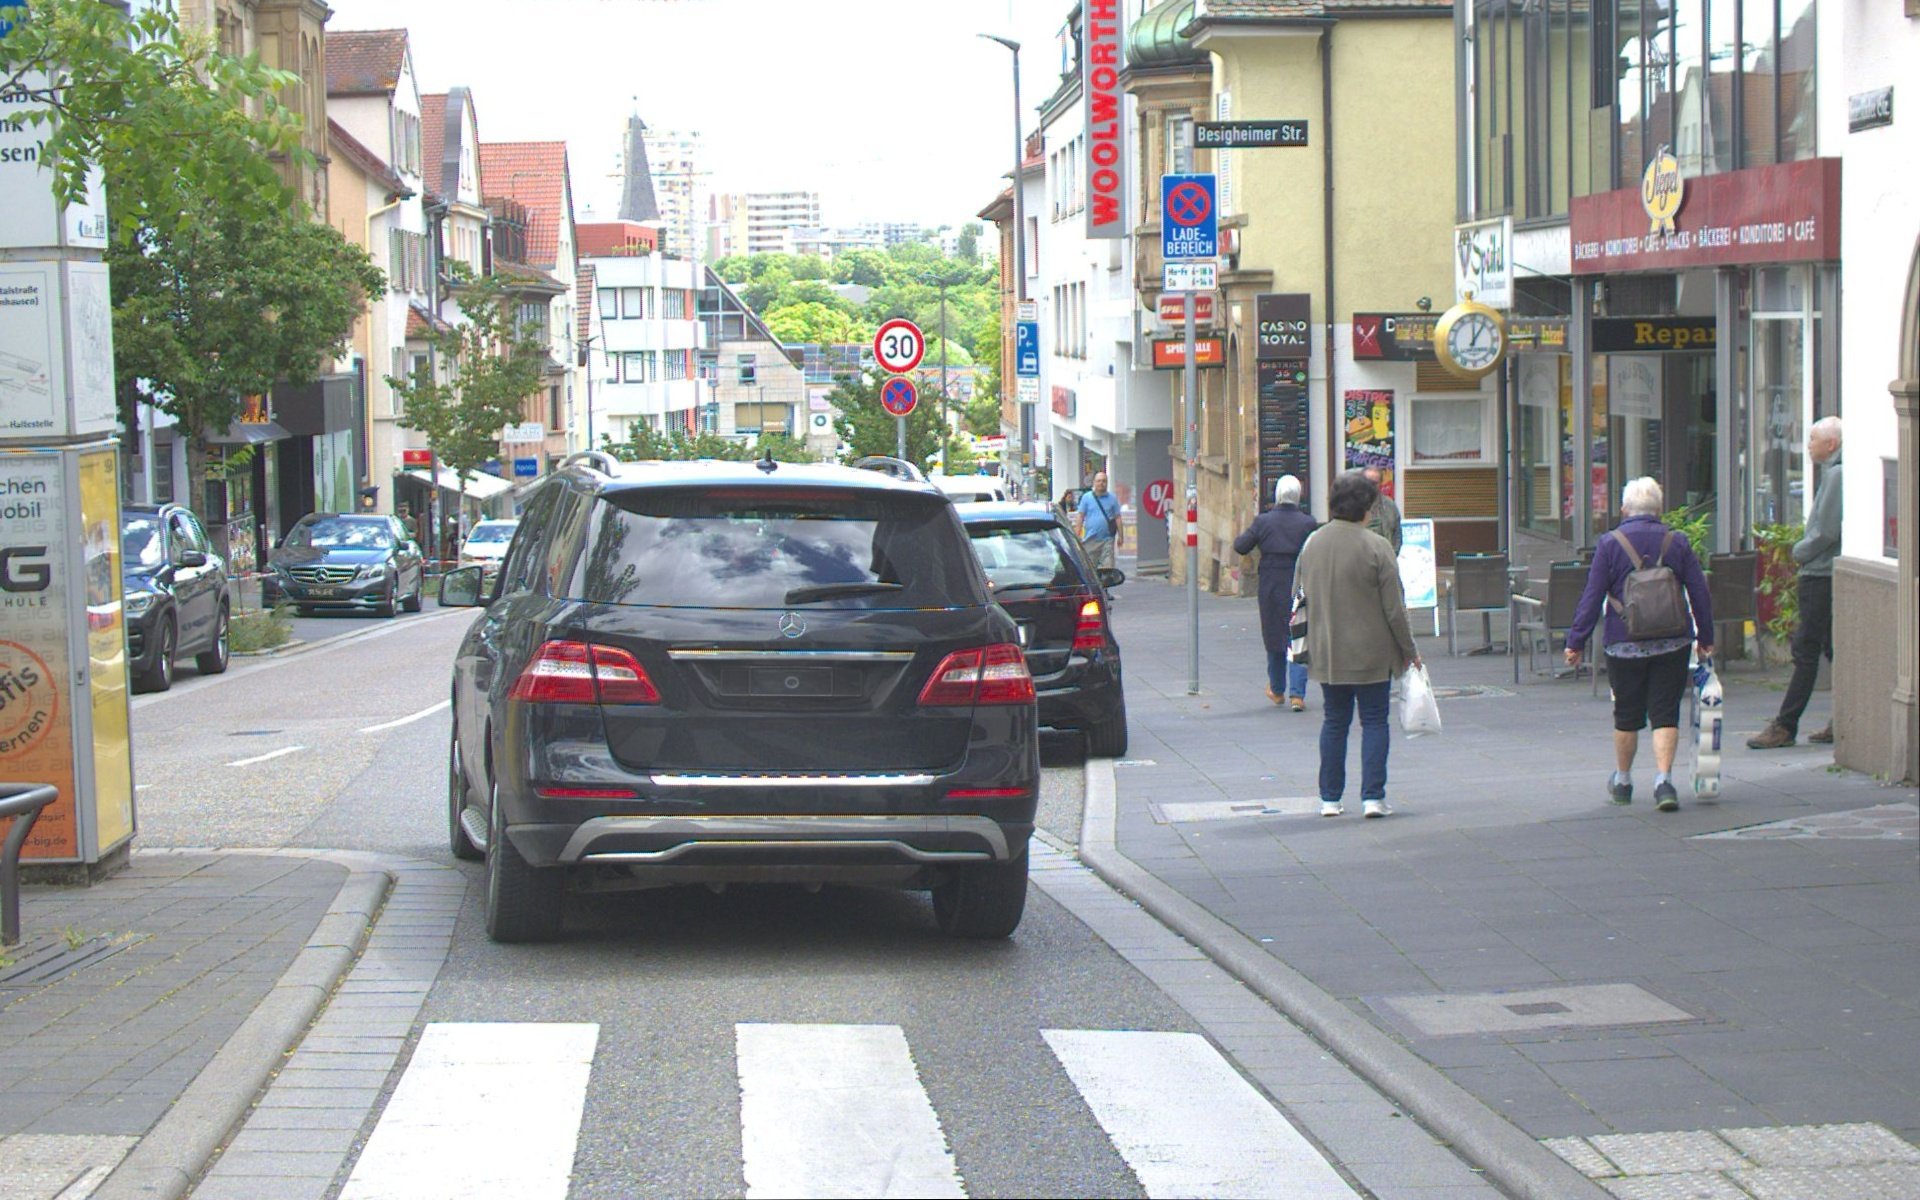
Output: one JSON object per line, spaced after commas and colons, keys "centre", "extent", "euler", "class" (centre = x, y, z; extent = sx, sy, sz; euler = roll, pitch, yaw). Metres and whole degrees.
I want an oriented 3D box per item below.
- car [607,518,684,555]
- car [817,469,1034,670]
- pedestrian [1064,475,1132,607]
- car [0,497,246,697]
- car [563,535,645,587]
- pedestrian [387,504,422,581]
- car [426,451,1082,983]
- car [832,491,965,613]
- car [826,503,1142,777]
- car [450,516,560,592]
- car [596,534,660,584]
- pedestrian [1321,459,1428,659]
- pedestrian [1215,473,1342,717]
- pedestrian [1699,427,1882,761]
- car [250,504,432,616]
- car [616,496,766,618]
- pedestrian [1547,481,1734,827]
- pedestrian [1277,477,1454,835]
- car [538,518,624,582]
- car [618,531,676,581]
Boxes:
{"centre": [-16.998, -3.420, 185.845], "extent": [3.986, 1.744, 2.000], "euler": [-3, 1, -5], "class": "car"}
{"centre": [-0.262, -0.348, 33.455], "extent": [1.877, 1.793, 4.732], "euler": [-1, 2, 2], "class": "car"}
{"centre": [1.851, -0.797, 46.191], "extent": [0.796, 1.721, 1.053], "euler": [-2, 1, -1], "class": "pedestrian"}
{"centre": [-8.127, -0.092, 32.303], "extent": [2.006, 1.687, 4.608], "euler": [0, 2, -2], "class": "car"}
{"centre": [-10.048, -1.126, 97.303], "extent": [1.926, 1.425, 4.262], "euler": [0, 1, -1], "class": "car"}
{"centre": [-10.657, -1.097, 65.962], "extent": [0.491, 1.458, 0.559], "euler": [1, 1, 8], "class": "pedestrian"}
{"centre": [-0.982, 0.322, 13.437], "extent": [1.943, 1.734, 4.180], "euler": [0, 2, -12], "class": "car"}
{"centre": [-0.867, -0.713, 49.007], "extent": [1.748, 1.602, 3.800], "euler": [-3, 2, -1], "class": "car"}
{"centre": [0.109, 0.177, 22.008], "extent": [1.803, 1.550, 3.954], "euler": [-2, 2, -1], "class": "car"}
{"centre": [-9.530, -0.995, 72.269], "extent": [1.926, 1.506, 4.263], "euler": [1, 2, -3], "class": "car"}
{"centre": [-10.682, -1.326, 110.835], "extent": [1.926, 1.491, 4.263], "euler": [1, 2, -4], "class": "car"}
{"centre": [3.612, -0.365, 30.030], "extent": [0.864, 1.701, 0.945], "euler": [-1, 1, 5], "class": "pedestrian"}
{"centre": [2.224, -0.045, 23.933], "extent": [0.824, 1.660, 0.802], "euler": [-1, 1, 8], "class": "pedestrian"}
{"centre": [4.510, -0.044, 18.702], "extent": [0.774, 1.763, 0.818], "euler": [-1, 1, 0], "class": "pedestrian"}
{"centre": [-8.869, -0.617, 49.599], "extent": [1.926, 1.487, 4.843], "euler": [1, 2, -3], "class": "car"}
{"centre": [-3.581, -0.609, 46.295], "extent": [1.785, 1.535, 3.745], "euler": [-1, 2, -1], "class": "car"}
{"centre": [3.094, 0.231, 15.681], "extent": [0.724, 1.526, 0.808], "euler": [-1, 1, 5], "class": "pedestrian"}
{"centre": [1.911, 0.249, 16.296], "extent": [0.772, 1.639, 0.870], "euler": [-1, 1, 5], "class": "pedestrian"}
{"centre": [-9.846, -1.298, 89.530], "extent": [1.926, 1.616, 4.640], "euler": [0, 1, -3], "class": "car"}
{"centre": [-10.748, -1.523, 118.223], "extent": [1.926, 1.590, 4.459], "euler": [1, 2, -5], "class": "car"}
